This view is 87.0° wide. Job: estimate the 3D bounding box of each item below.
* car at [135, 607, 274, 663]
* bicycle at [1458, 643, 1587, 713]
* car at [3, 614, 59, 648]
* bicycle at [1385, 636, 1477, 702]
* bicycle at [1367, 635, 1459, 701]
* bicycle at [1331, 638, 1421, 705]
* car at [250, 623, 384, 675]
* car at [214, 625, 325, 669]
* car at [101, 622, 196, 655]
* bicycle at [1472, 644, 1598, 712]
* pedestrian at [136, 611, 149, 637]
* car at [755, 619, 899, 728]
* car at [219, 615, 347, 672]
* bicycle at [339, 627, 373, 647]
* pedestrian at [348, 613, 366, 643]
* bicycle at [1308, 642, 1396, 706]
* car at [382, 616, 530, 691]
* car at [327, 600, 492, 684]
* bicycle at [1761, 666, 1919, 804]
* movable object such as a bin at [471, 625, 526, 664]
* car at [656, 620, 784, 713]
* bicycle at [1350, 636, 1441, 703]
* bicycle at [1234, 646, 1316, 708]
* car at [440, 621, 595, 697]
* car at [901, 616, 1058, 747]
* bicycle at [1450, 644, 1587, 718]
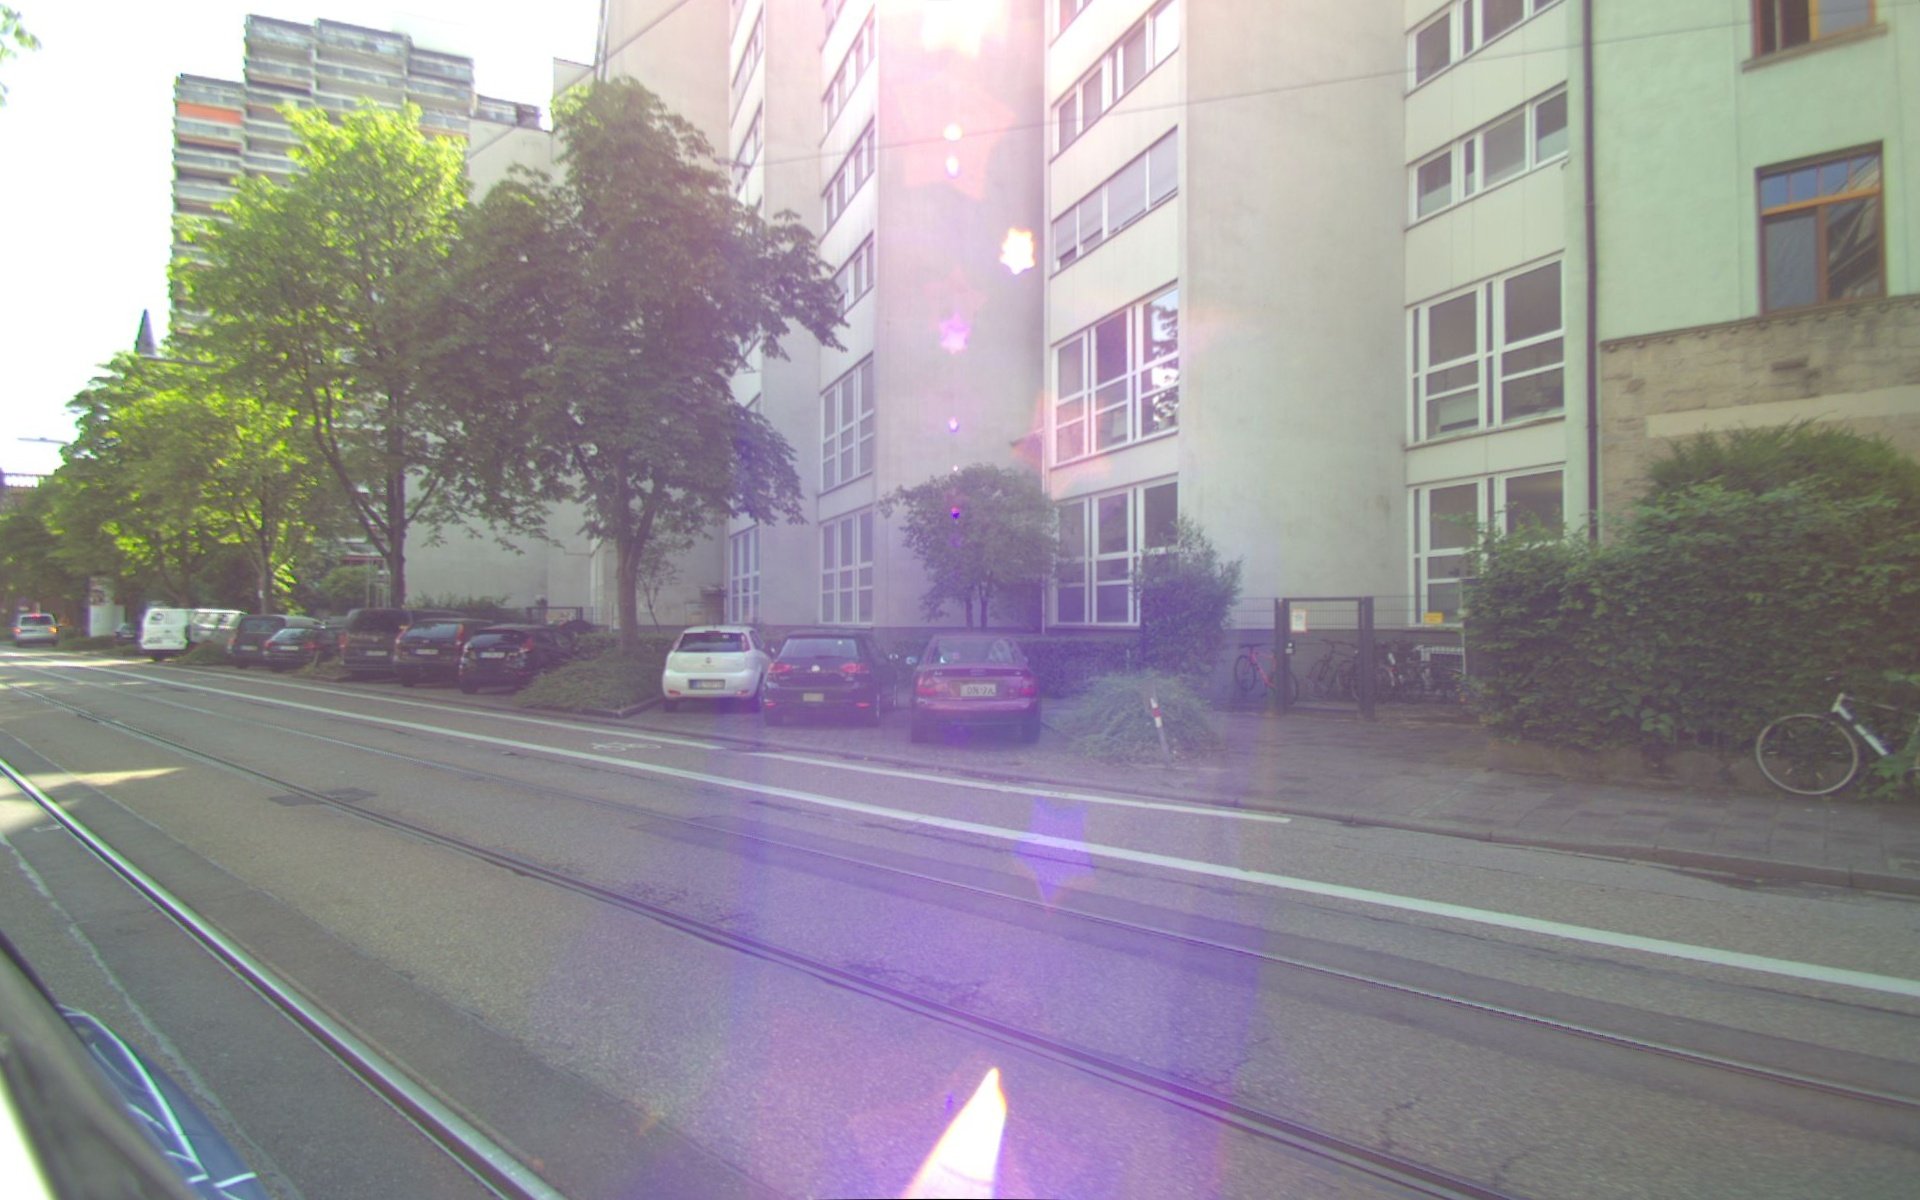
[{"bbox_3d":[-29.145,1.342,39.253,1.941,2.012,4.686,0,-2,-1],"label":"car"},{"bbox_3d":[9.223,1.251,16.646,1.808,1.072,0.379,-2,0,39],"label":"bicycle"},{"bbox_3d":[-55.577,1.810,60.511,4.232,1.865,1.868,-1,1,40],"label":"car"},{"bbox_3d":[9.031,1.301,19.488,0.377,1.154,1.816,-1,0,-22],"label":"bicycle"},{"bbox_3d":[8.617,1.275,19.331,0.377,1.154,1.816,-1,0,-22],"label":"bicycle"},{"bbox_3d":[7.792,1.313,19.019,0.377,1.154,1.816,-1,0,-22],"label":"bicycle"},{"bbox_3d":[-19.344,1.494,30.677,1.734,1.428,4.004,2,-3,-5],"label":"car"},{"bbox_3d":[-24.214,1.656,35.673,1.694,1.428,4.008,2,-3,-10],"label":"car"},{"bbox_3d":[-39.008,1.827,48.772,1.716,1.535,3.890,0,-1,-5],"label":"car"},{"bbox_3d":[9.754,1.299,17.215,1.808,1.072,0.379,-2,0,39],"label":"bicycle"},{"bbox_3d":[-57.201,1.660,70.803,0.516,1.767,0.637,0,2,-25],"label":"pedestrian"},{"bbox_3d":[-1.992,1.134,16.184,1.675,1.495,3.805,1,-3,1],"label":"car"},{"bbox_3d":[-21.916,1.432,32.953,1.735,1.706,3.717,2,-3,-3],"label":"car"},{"bbox_3d":[-33.457,2.065,56.061,1.553,1.089,0.544,0,-4,-25],"label":"bicycle"},{"bbox_3d":[-33.814,1.570,56.754,0.660,1.636,0.635,0,0,33],"label":"pedestrian"},{"bbox_3d":[7.245,1.340,18.794,0.377,1.072,1.816,-1,0,-22],"label":"bicycle"},{"bbox_3d":[-12.036,1.290,24.476,1.715,1.605,4.003,2,-3,-3],"label":"car"},{"bbox_3d":[-14.476,1.155,26.999,1.887,1.969,5.173,2,-3,-5],"label":"car"},{"bbox_3d":[7.170,1.011,7.572,1.810,0.966,0.378,-2,0,43],"label":"bicycle"},{"bbox_3d":[-16.015,1.549,35.126,1.441,1.293,1.156,-1,-5,40],"label":"movable object such as a bin"},{"bbox_3d":[-4.268,1.197,18.558,1.672,1.495,3.810,2,-3,-4],"label":"car"},{"bbox_3d":[8.210,1.285,19.154,0.377,1.154,1.816,-1,0,-22],"label":"bicycle"},{"bbox_3d":[5.598,1.349,18.102,0.377,0.986,1.722,-1,0,-22],"label":"bicycle"},{"bbox_3d":[-9.656,1.290,22.422,1.716,1.495,4.001,1,-3,-1],"label":"car"},{"bbox_3d":[0.152,1.066,13.905,1.819,1.495,3.972,2,-3,-2],"label":"car"},{"bbox_3d":[8.683,1.242,15.787,1.808,1.072,0.379,-2,0,39],"label":"bicycle"}]
